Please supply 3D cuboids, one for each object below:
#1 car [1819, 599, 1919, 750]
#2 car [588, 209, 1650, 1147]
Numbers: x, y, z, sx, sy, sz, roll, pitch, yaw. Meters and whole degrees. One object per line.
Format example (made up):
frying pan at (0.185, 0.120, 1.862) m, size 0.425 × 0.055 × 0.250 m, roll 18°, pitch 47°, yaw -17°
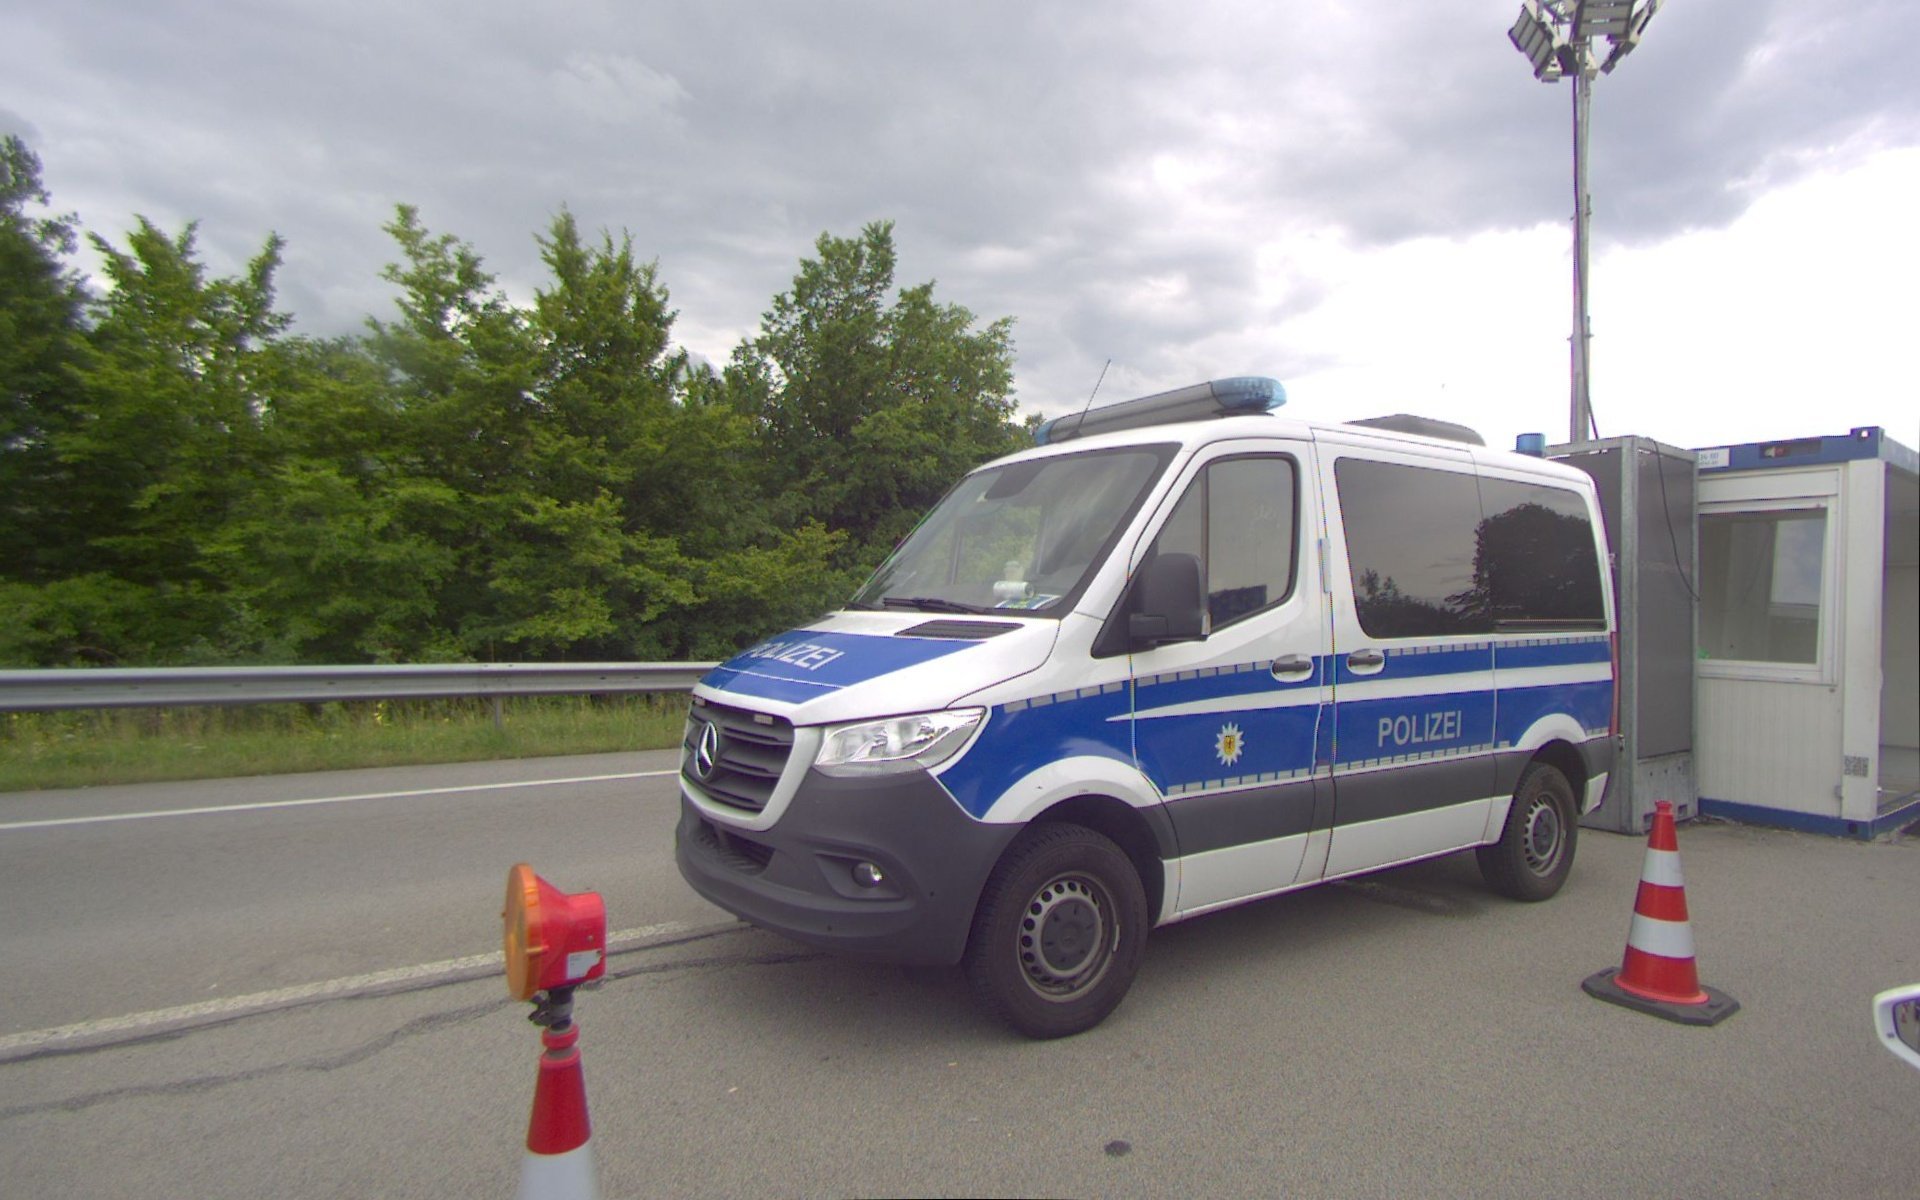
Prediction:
car at (12.891, 0.915, 12.899) m, size 3.967 × 1.767 × 1.857 m, roll 1°, pitch 0°, yaw -35°
car at (1.117, 0.254, 4.987) m, size 5.224 × 2.496 × 2.016 m, roll 1°, pitch 0°, yaw -34°
